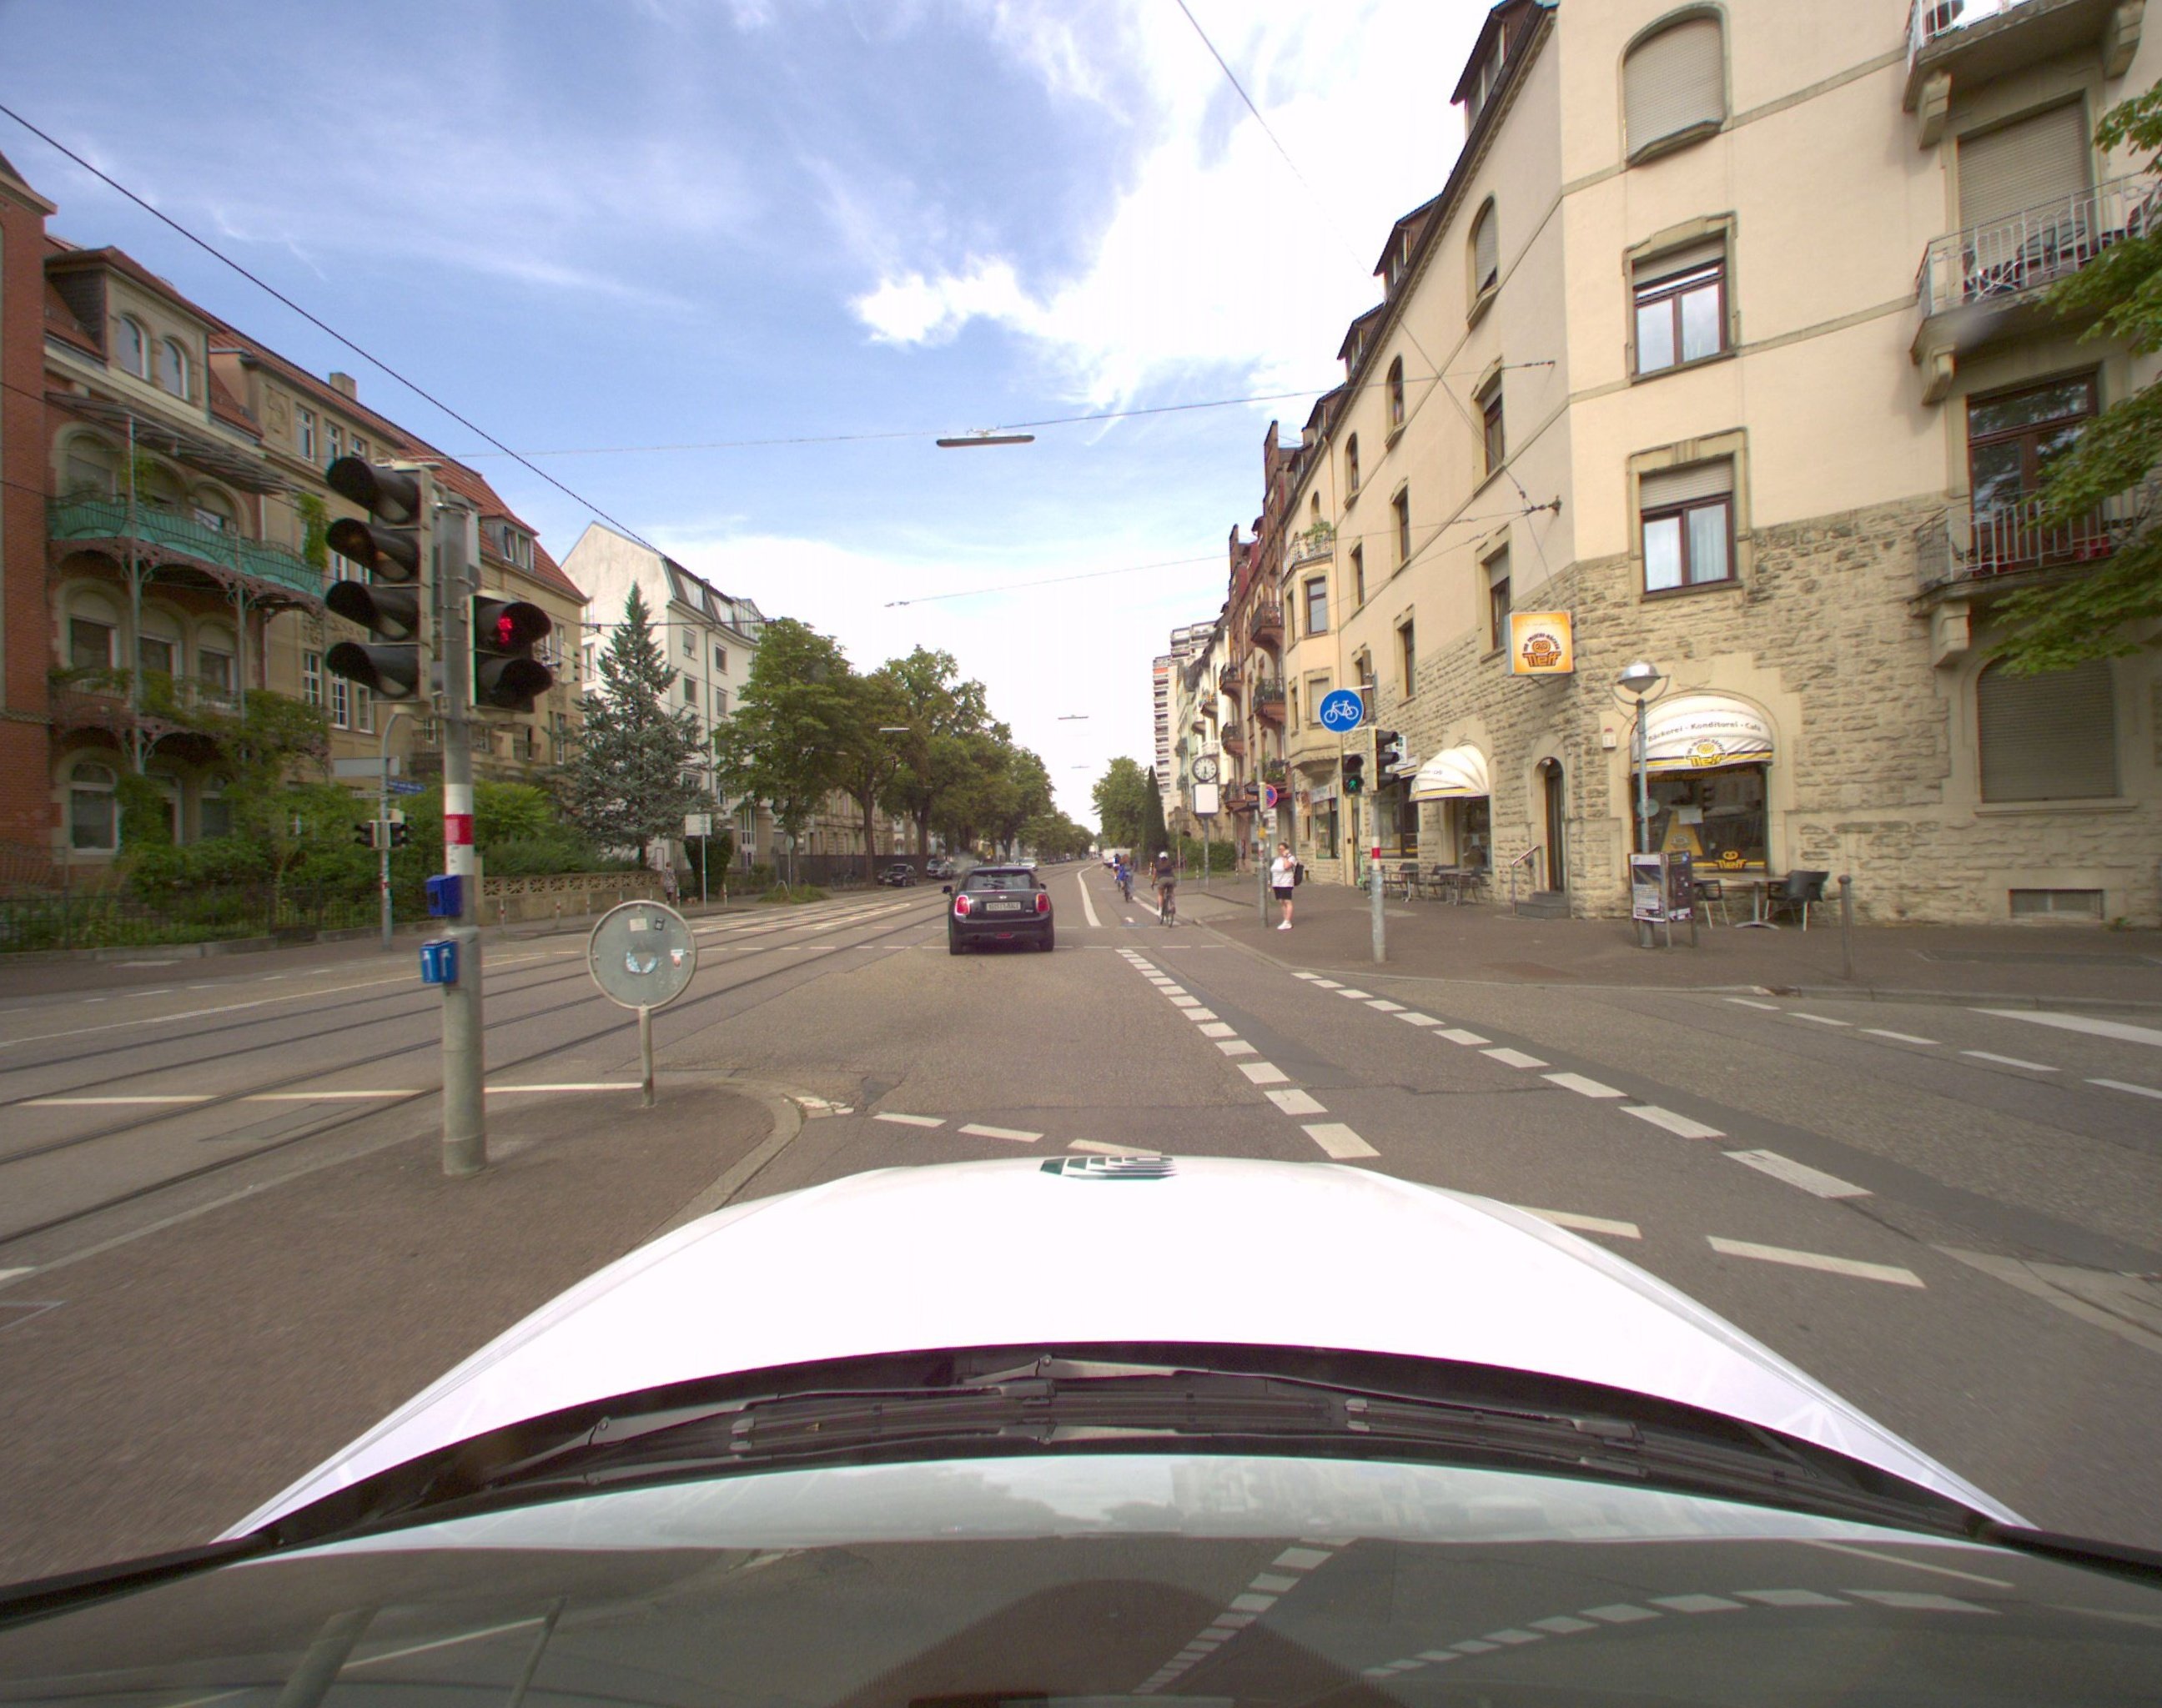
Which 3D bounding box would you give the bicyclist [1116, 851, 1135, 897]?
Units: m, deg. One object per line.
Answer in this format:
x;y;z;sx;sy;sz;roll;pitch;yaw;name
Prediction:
1.580;0.698;28.913;0.592;1.550;1.014;-2;0;2;bicyclist

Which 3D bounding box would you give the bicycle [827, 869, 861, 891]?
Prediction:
-13.096;1.418;44.963;1.680;1.119;0.566;-3;0;-37;bicycle

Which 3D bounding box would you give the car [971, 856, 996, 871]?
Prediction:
-10.899;1.097;91.163;1.985;1.552;4.003;-2;0;3;car

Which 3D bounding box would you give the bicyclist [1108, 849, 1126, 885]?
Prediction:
1.625;0.594;36.662;0.681;1.564;0.999;-2;0;4;bicyclist

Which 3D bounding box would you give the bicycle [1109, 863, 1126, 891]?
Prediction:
1.642;1.010;36.666;0.681;1.170;1.699;-2;0;4;bicycle

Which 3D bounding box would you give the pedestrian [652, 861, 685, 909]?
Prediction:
-15.673;1.169;30.964;0.727;1.783;0.836;-2;0;2;pedestrian

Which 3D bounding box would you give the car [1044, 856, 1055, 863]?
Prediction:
-6.930;1.220;177.028;1.985;1.552;4.003;-2;0;3;car

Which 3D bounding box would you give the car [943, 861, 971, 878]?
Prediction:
-10.949;1.329;72.095;1.760;1.395;4.002;-2;0;2;car

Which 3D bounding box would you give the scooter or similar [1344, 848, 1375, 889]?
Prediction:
8.400;0.425;24.592;0.506;1.188;1.262;-2;0;3;scooter or similar

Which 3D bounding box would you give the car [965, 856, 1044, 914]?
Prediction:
-2.207;0.873;24.483;1.920;1.510;4.000;-2;0;0;car

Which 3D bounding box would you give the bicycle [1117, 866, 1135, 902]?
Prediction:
1.600;1.055;29.014;0.596;1.170;1.698;-2;0;3;bicycle

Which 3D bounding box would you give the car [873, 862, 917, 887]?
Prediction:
-11.920;1.292;52.405;1.760;1.395;4.002;-2;0;2;car

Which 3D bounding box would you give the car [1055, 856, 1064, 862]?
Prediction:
-5.459;1.301;206.936;1.985;1.552;4.003;-2;0;3;car

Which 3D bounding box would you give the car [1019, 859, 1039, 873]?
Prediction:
-5.588;1.255;87.547;1.760;1.395;4.002;-2;0;2;car

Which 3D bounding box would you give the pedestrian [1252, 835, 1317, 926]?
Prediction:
3.947;0.516;15.817;0.840;1.674;0.724;-5;0;-41;pedestrian

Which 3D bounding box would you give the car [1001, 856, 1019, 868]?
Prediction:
-9.934;1.167;114.128;1.985;1.552;4.003;-2;0;3;car

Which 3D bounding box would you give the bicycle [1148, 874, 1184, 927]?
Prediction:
1.921;1.033;18.625;0.612;1.076;1.821;-2;0;0;bicycle

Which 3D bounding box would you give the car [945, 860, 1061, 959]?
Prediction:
-1.503;0.868;14.645;1.751;1.441;3.988;-2;0;-9;car

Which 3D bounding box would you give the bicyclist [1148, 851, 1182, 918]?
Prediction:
1.911;0.674;18.628;0.613;1.472;0.915;-2;0;0;bicyclist

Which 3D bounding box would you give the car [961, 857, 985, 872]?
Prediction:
-10.909;1.064;82.754;1.760;1.395;4.002;-2;0;2;car

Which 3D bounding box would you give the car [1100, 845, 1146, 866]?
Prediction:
5.008;0.208;96.289;5.064;2.272;2.369;-2;0;-38;car

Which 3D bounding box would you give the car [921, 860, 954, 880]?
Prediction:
-11.306;1.238;64.424;1.760;1.395;4.002;-2;0;2;car

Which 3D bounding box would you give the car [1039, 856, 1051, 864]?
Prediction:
-7.393;1.186;166.564;1.985;1.552;4.003;-2;0;3;car
